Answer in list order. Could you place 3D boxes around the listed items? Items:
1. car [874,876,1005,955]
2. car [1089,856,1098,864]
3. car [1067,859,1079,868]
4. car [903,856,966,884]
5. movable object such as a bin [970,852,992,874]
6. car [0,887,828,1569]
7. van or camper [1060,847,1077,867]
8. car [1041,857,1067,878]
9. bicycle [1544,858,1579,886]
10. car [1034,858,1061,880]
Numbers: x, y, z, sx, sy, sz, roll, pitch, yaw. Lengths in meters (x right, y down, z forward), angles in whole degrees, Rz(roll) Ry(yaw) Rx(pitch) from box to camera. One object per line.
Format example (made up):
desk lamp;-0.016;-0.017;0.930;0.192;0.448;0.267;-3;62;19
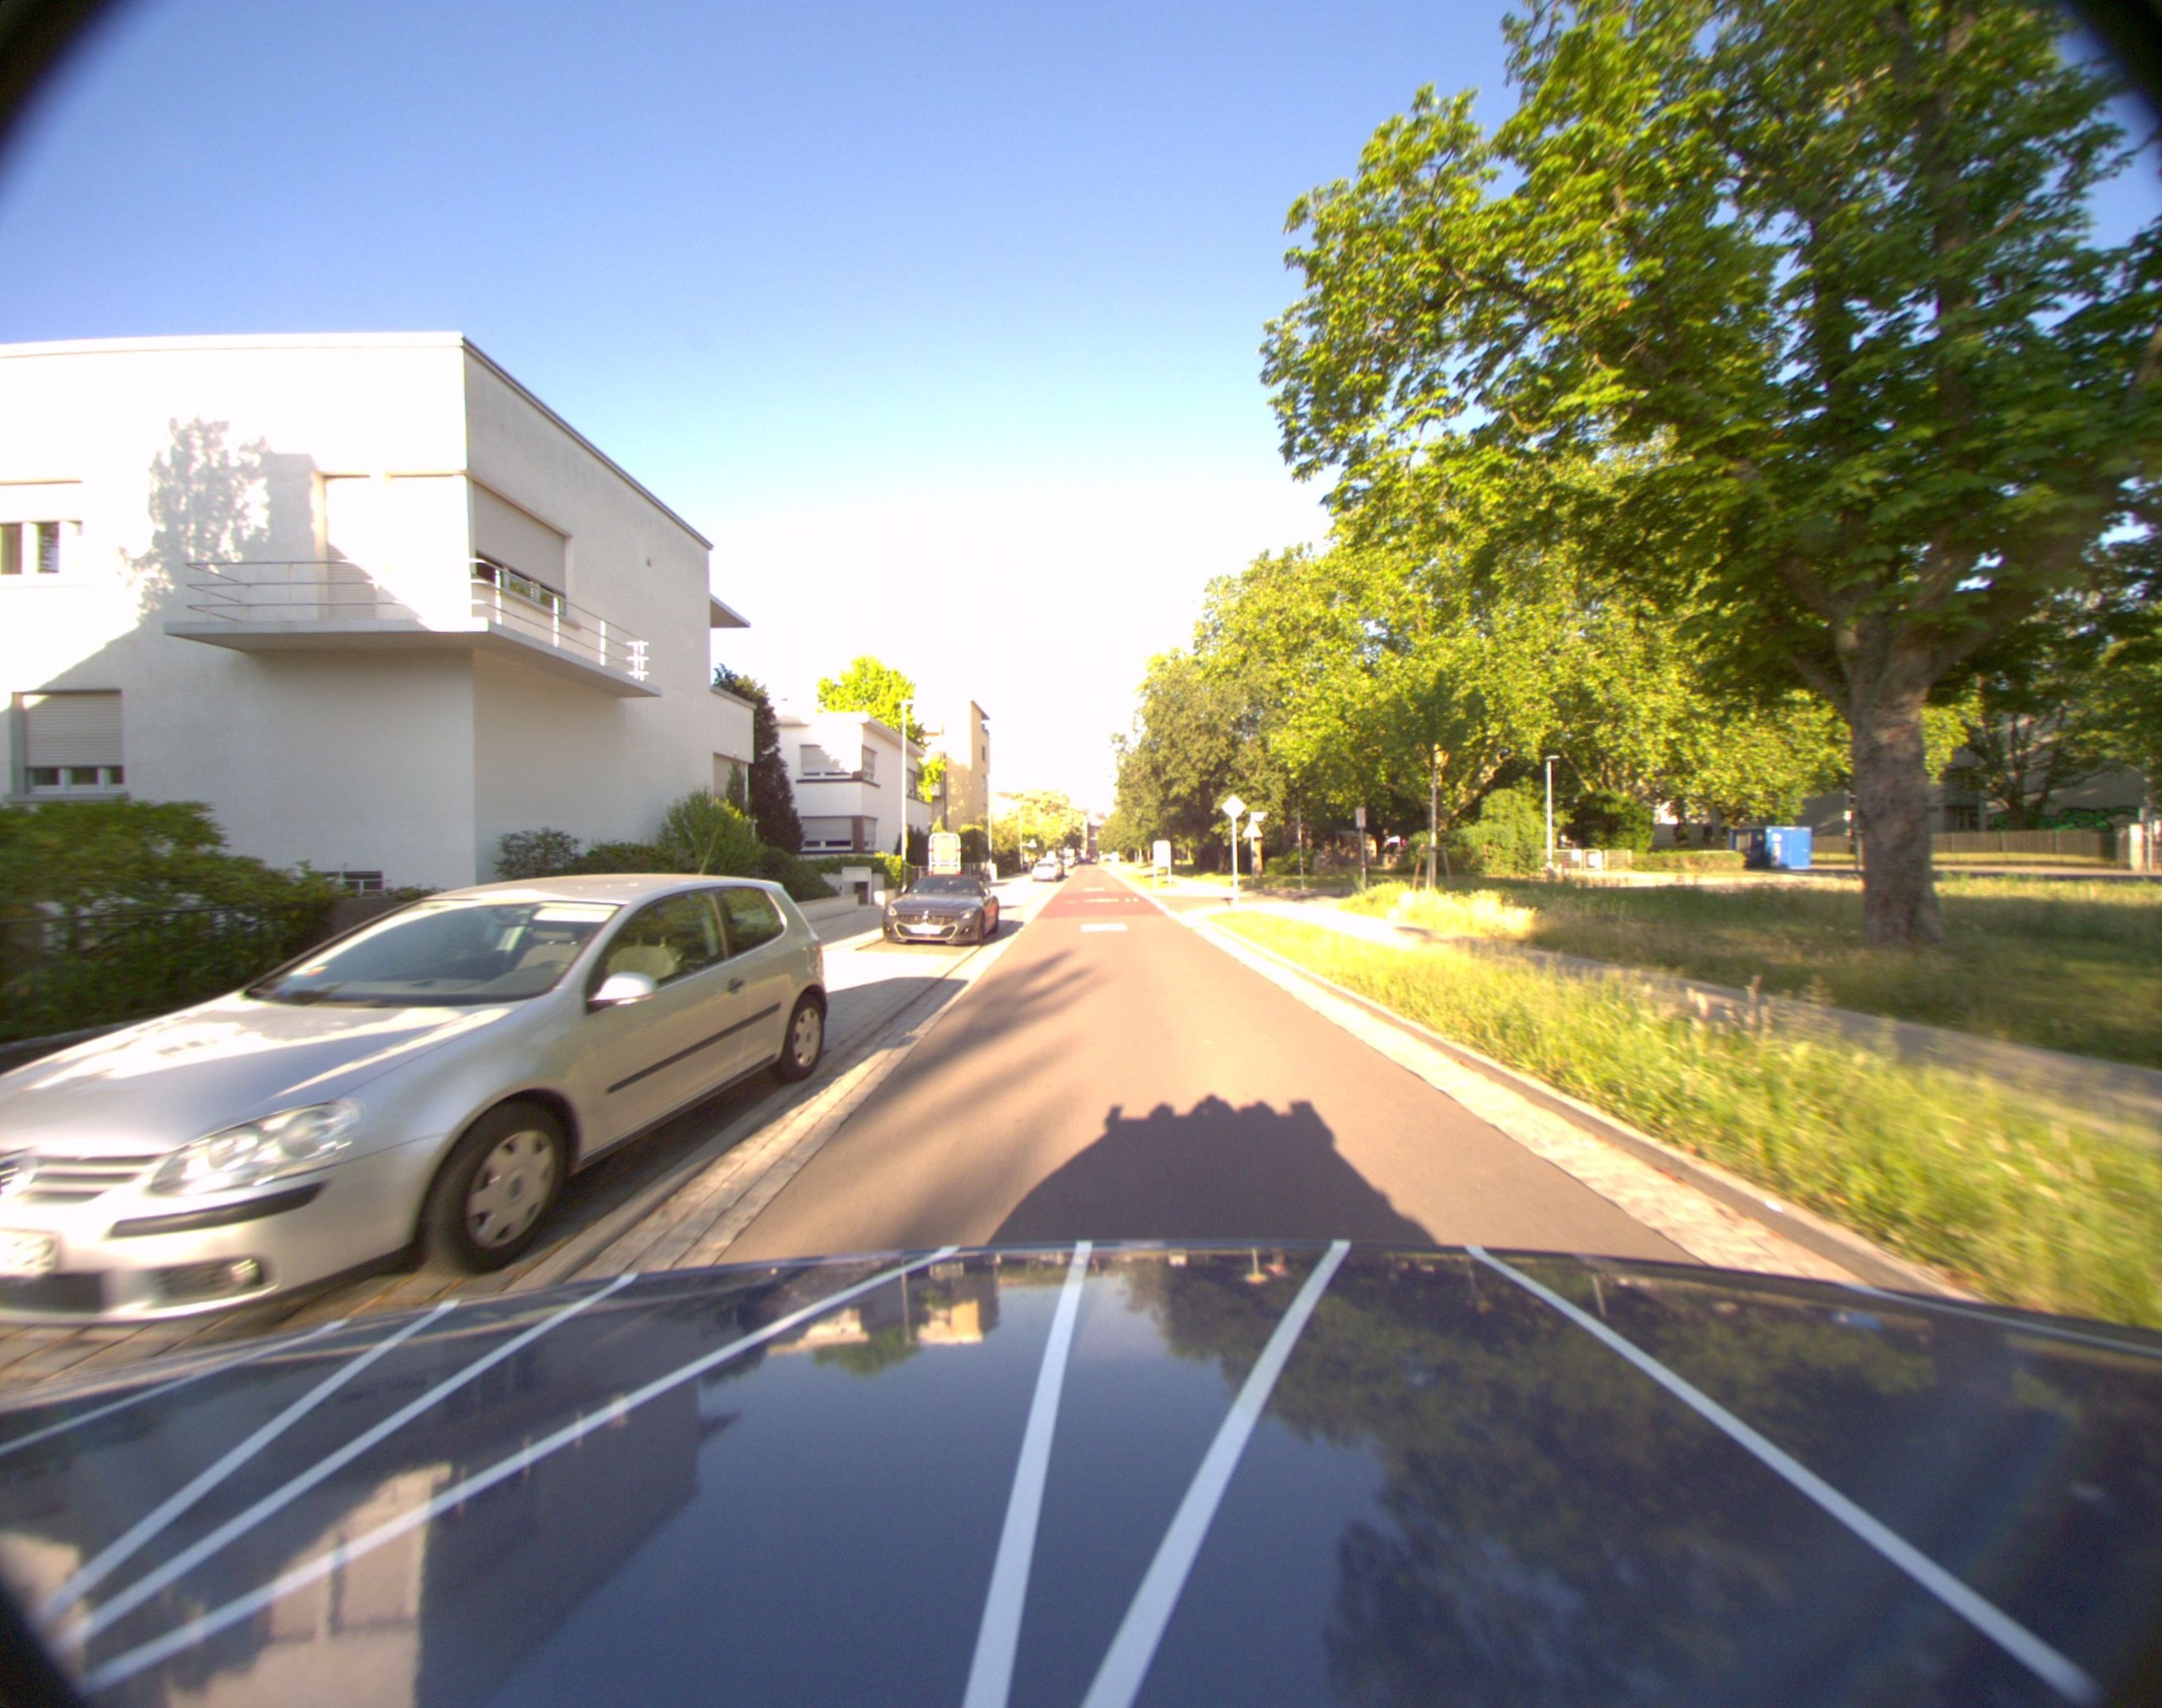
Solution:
car;-2.715;1.159;15.607;1.779;1.281;4.273;2;-1;1
car;2.911;1.376;178.392;1.849;1.836;4.572;-1;0;-1
car;-1.473;1.669;135.679;1.998;1.501;4.000;-2;0;0
car;-9.213;0.994;48.000;3.499;1.632;1.644;-1;0;8
movable object such as a bin;-6.801;0.625;51.643;1.240;1.424;1.123;-1;0;2
car;-2.973;1.012;3.889;1.748;1.465;3.924;2;0;5
van or camper;-1.784;0.404;110.269;2.427;2.766;5.951;1;0;-1
car;-2.058;1.036;58.442;1.683;1.546;4.130;0;0;2
bicycle;20.722;0.770;32.732;1.591;1.180;0.419;-1;1;-22
car;-2.269;1.010;52.492;1.567;1.382;4.374;0;0;1
